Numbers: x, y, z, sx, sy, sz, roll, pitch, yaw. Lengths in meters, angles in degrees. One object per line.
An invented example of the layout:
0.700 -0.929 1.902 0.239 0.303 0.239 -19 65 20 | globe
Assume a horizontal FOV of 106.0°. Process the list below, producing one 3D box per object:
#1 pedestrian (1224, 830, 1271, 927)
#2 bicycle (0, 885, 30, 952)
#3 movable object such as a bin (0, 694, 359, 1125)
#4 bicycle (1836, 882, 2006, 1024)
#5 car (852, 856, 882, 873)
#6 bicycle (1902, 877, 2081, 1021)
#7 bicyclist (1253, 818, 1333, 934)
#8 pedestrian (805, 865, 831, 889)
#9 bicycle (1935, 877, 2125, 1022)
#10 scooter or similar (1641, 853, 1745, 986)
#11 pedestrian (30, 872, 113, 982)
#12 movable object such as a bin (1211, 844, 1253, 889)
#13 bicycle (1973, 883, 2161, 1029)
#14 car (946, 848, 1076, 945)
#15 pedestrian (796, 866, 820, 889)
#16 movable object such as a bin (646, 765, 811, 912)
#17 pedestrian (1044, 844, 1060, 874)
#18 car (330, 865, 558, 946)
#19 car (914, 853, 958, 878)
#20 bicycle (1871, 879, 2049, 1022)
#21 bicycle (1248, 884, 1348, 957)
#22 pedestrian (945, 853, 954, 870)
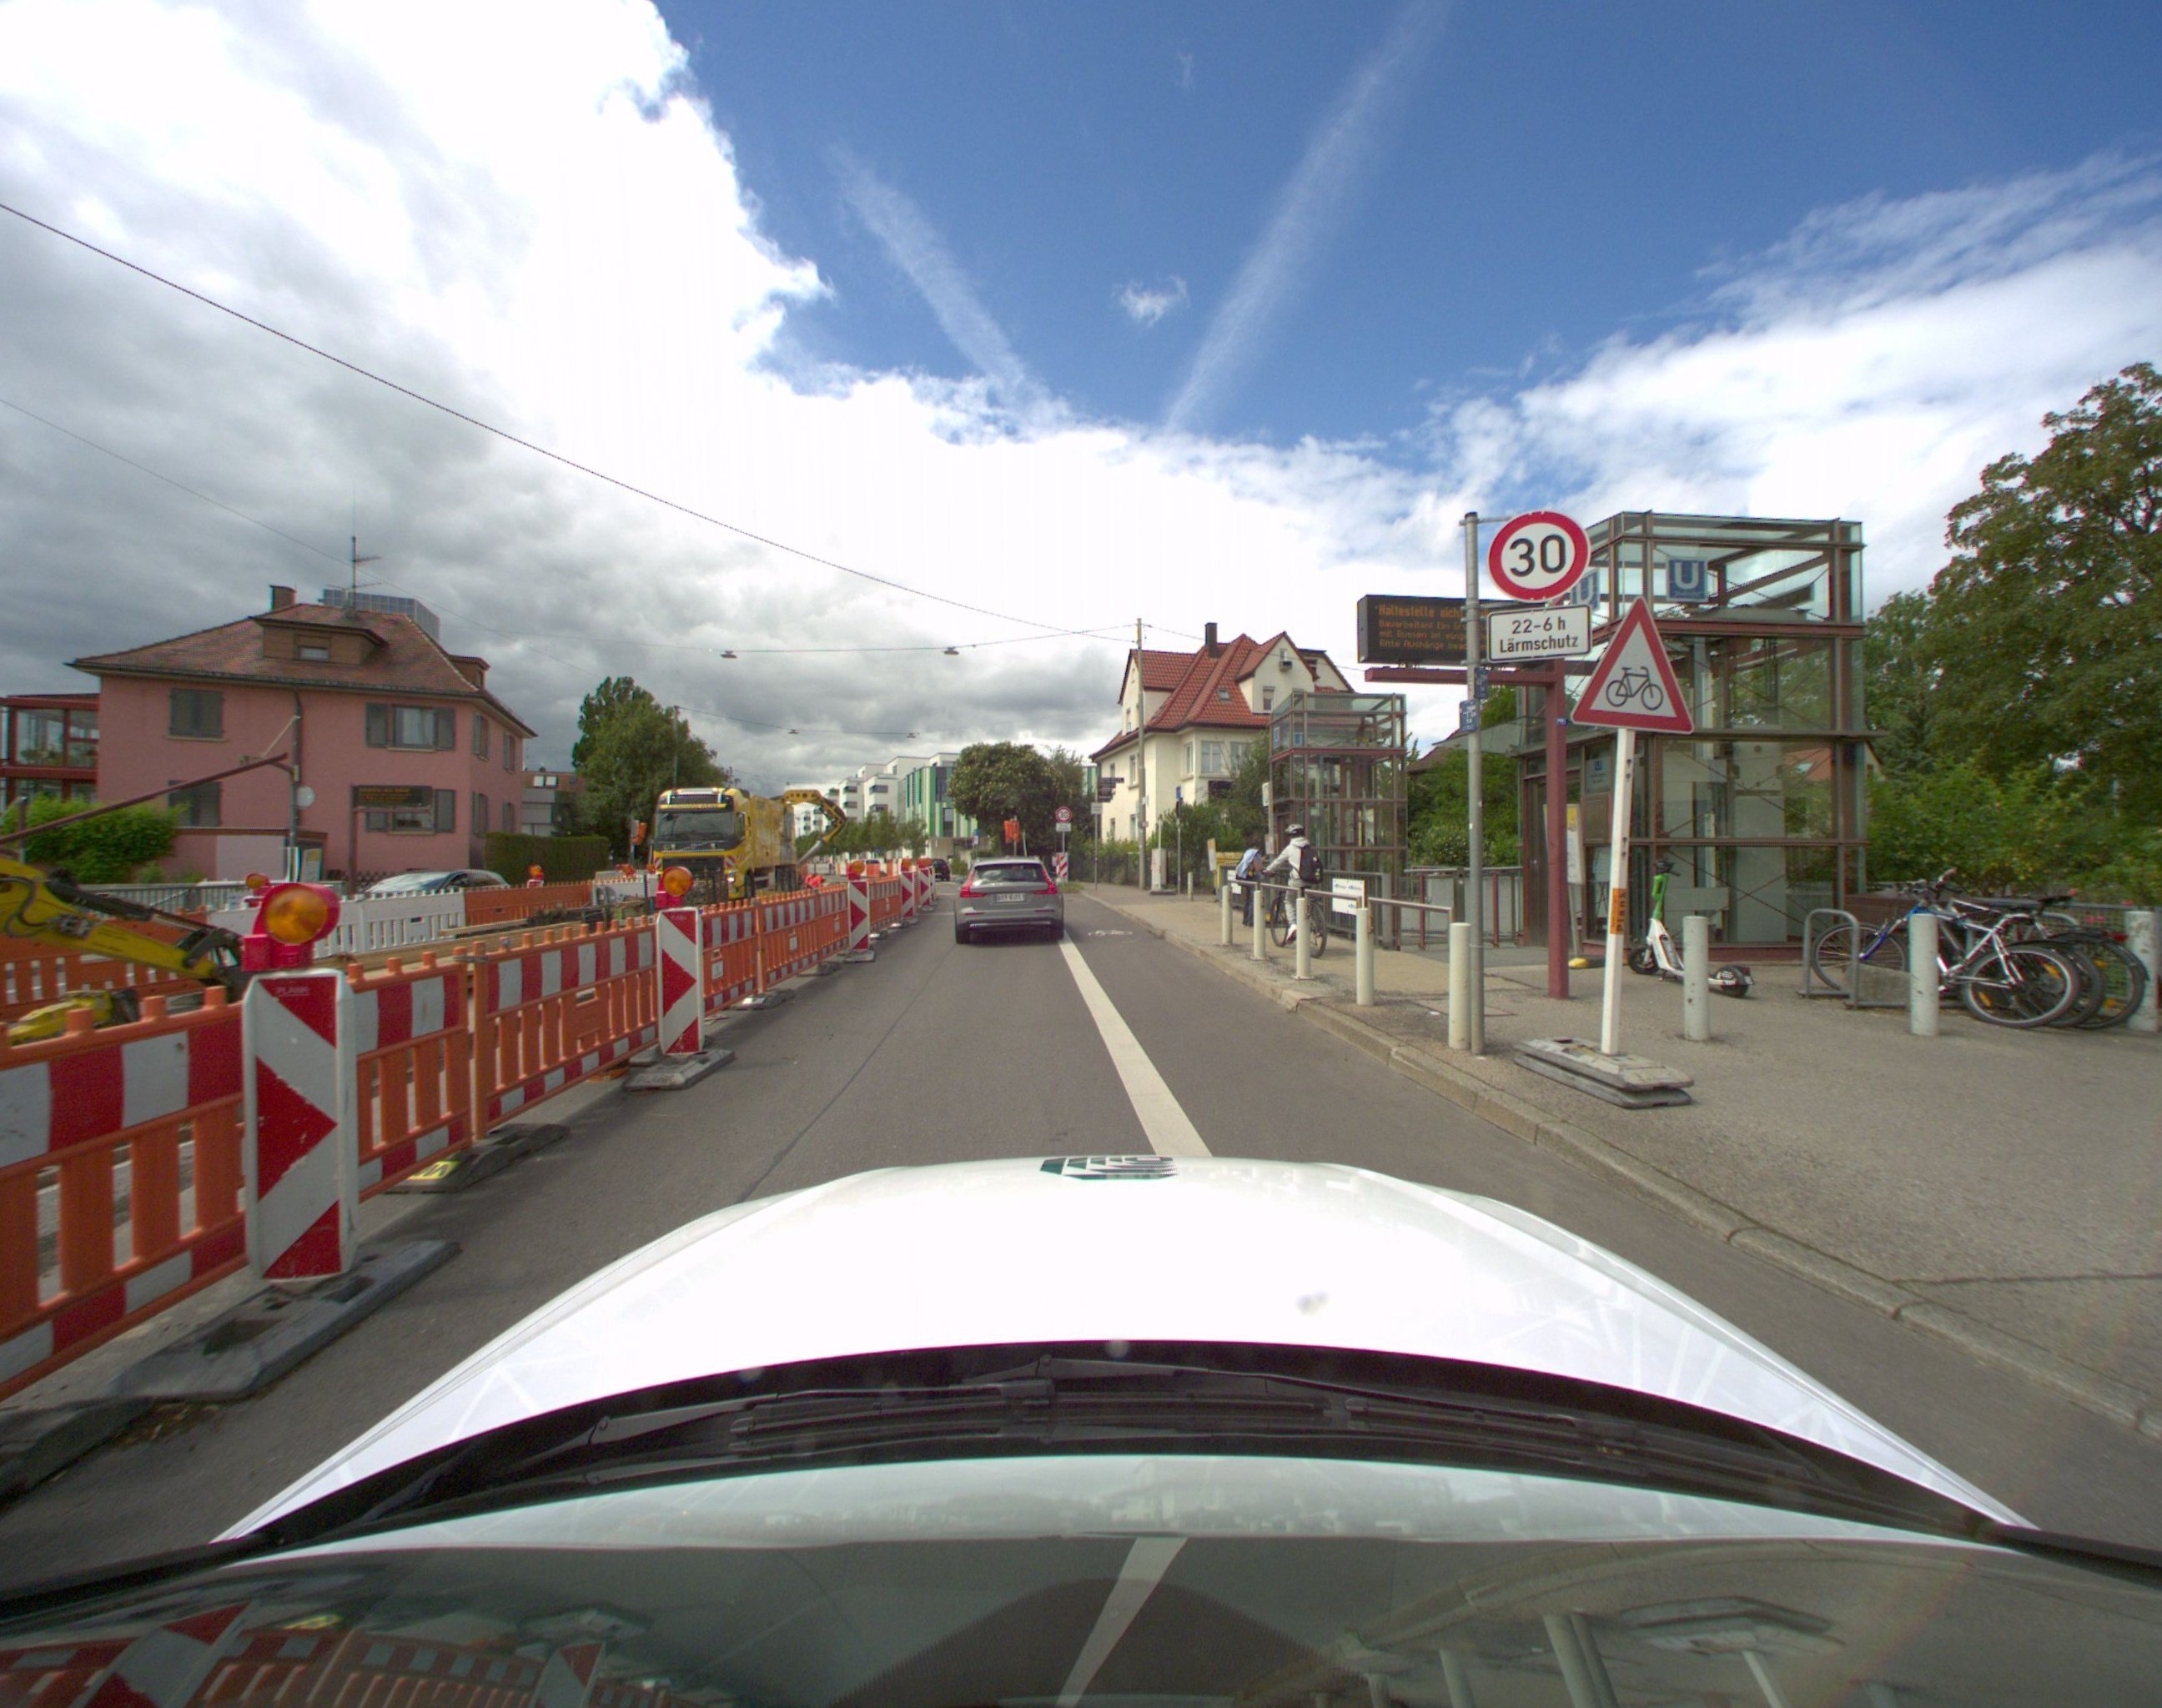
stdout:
2.853 0.418 13.950 0.597 1.583 0.401 5 -2 -5 | pedestrian
-17.983 1.075 12.664 0.537 1.082 2.130 -1 0 -2 | bicycle
-7.679 0.364 3.996 1.984 2.625 6.532 -1 0 5 | movable object such as a bin
6.754 0.752 6.607 0.214 0.989 1.206 -1 0 5 | bicycle
-19.645 0.953 74.661 1.855 1.513 3.965 1 0 -27 | car
7.297 0.720 6.584 0.214 1.013 1.171 -1 0 5 | bicycle
2.721 0.259 10.568 0.655 1.415 1.177 0 1 -5 | bicyclist
-11.368 0.983 35.251 0.787 0.990 0.813 -1 0 5 | pedestrian
7.560 0.716 6.547 0.214 1.008 1.191 -1 0 5 | bicycle
5.727 0.579 7.663 0.215 1.111 0.945 -1 3 -3 | scooter or similar
-17.931 1.274 14.481 0.678 1.886 0.584 -1 0 -5 | pedestrian
5.048 0.411 27.339 1.263 1.470 1.005 0 0 2 | movable object such as a bin
7.856 0.764 6.517 0.214 1.008 1.191 -1 0 5 | bicycle
-1.147 0.672 15.125 1.847 1.513 4.003 -1 0 3 | car
-12.043 1.021 35.893 0.636 0.990 0.796 -1 0 15 | pedestrian
-12.059 -0.486 29.200 2.590 4.221 11.087 -1 0 -9 | movable object such as a bin
-1.518 0.276 42.629 0.638 1.539 0.517 -1 0 -28 | pedestrian
-14.322 1.071 18.723 1.850 1.513 4.437 -1 0 -2 | car
-9.155 0.714 51.179 1.863 1.513 3.968 1 0 -24 | car
7.032 0.731 6.579 0.214 1.001 1.208 -1 0 5 | bicycle
2.792 0.823 10.701 0.634 0.753 2.059 0 1 -4 | bicycle
-11.723 0.666 72.789 0.583 1.551 0.862 -1 0 -24 | pedestrian
